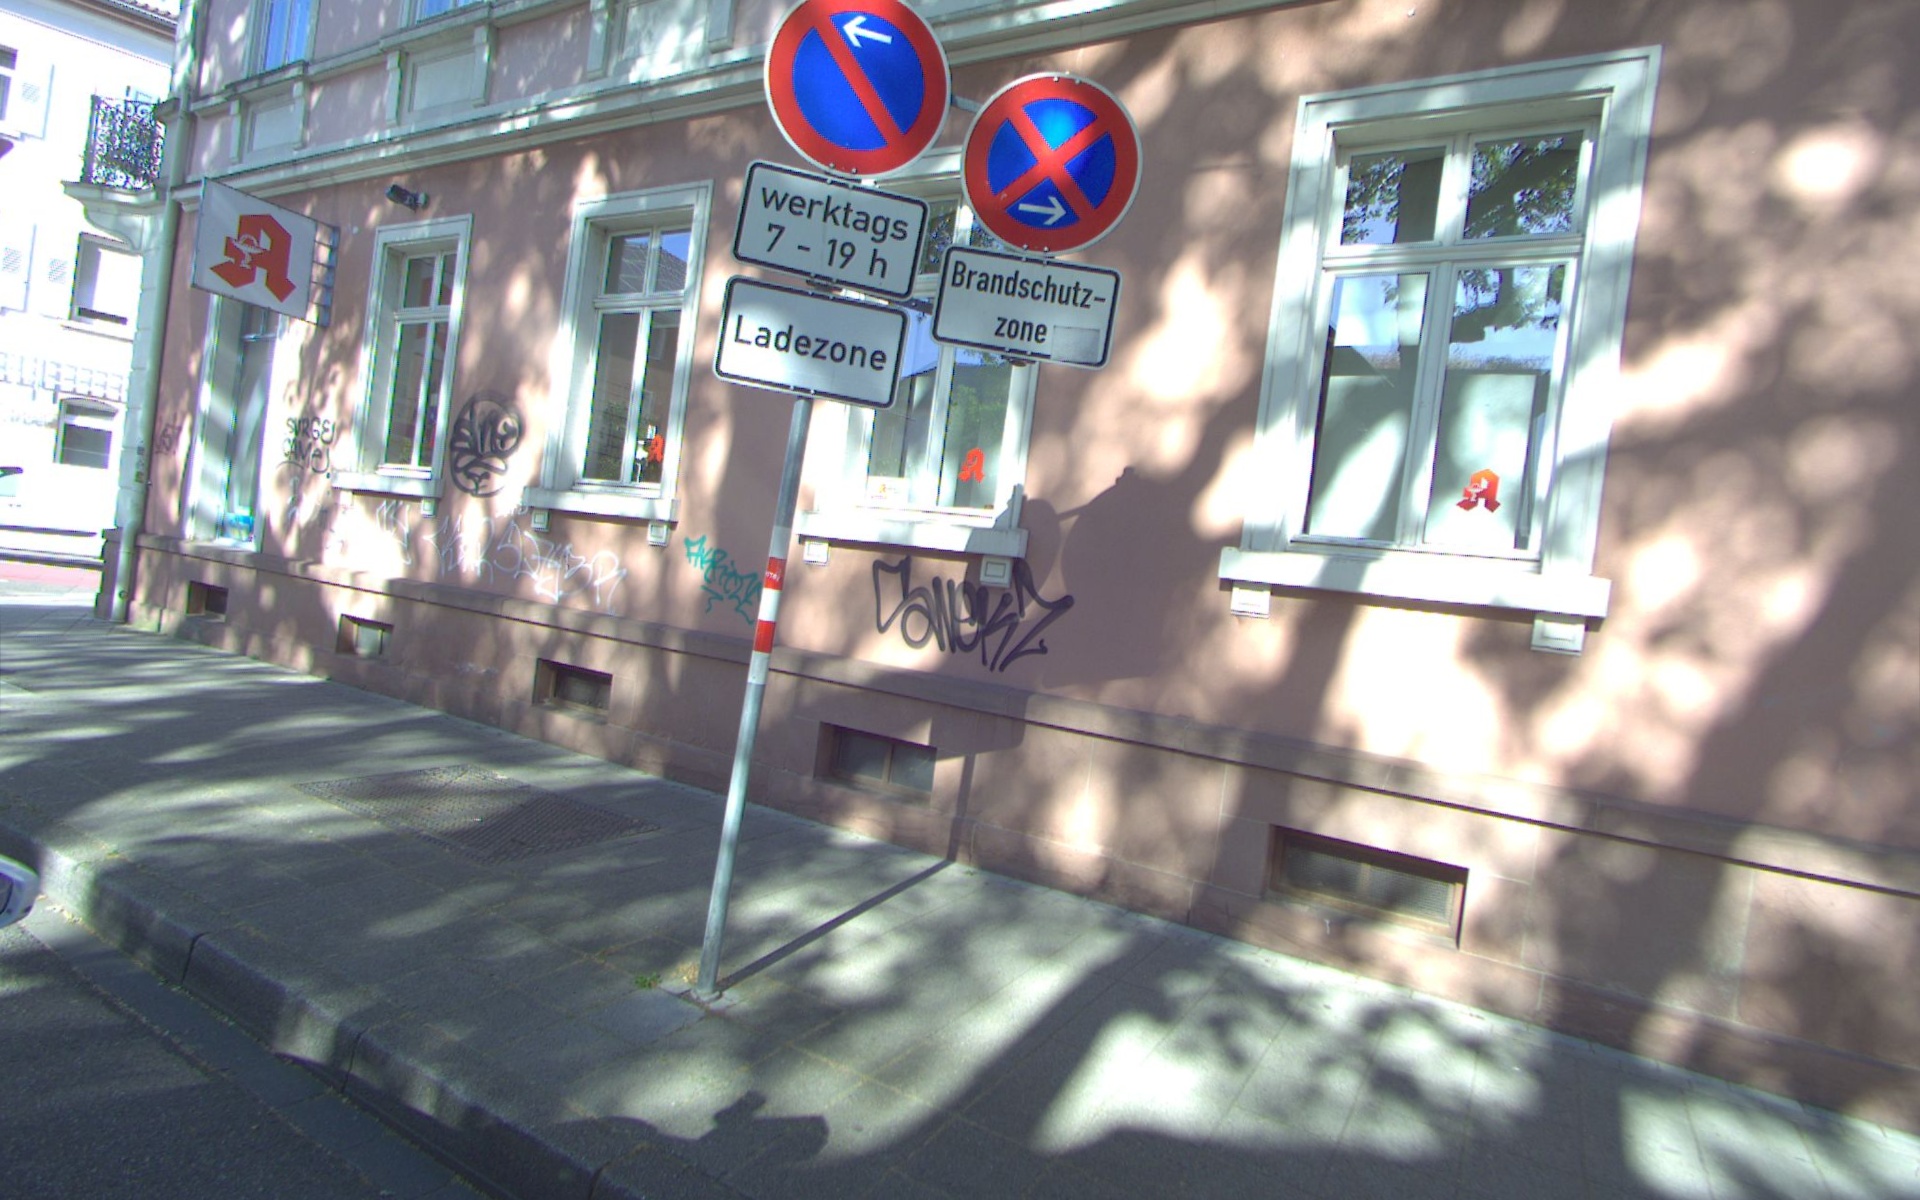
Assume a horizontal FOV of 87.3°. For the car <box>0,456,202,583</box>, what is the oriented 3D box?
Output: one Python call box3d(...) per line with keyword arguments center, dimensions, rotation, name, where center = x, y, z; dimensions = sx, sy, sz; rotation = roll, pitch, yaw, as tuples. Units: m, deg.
box3d(center=(-17.851, -1.624, 19.451), dimensions=(4.862, 1.950, 1.982), rotation=(8, -3, -35), name="car")
